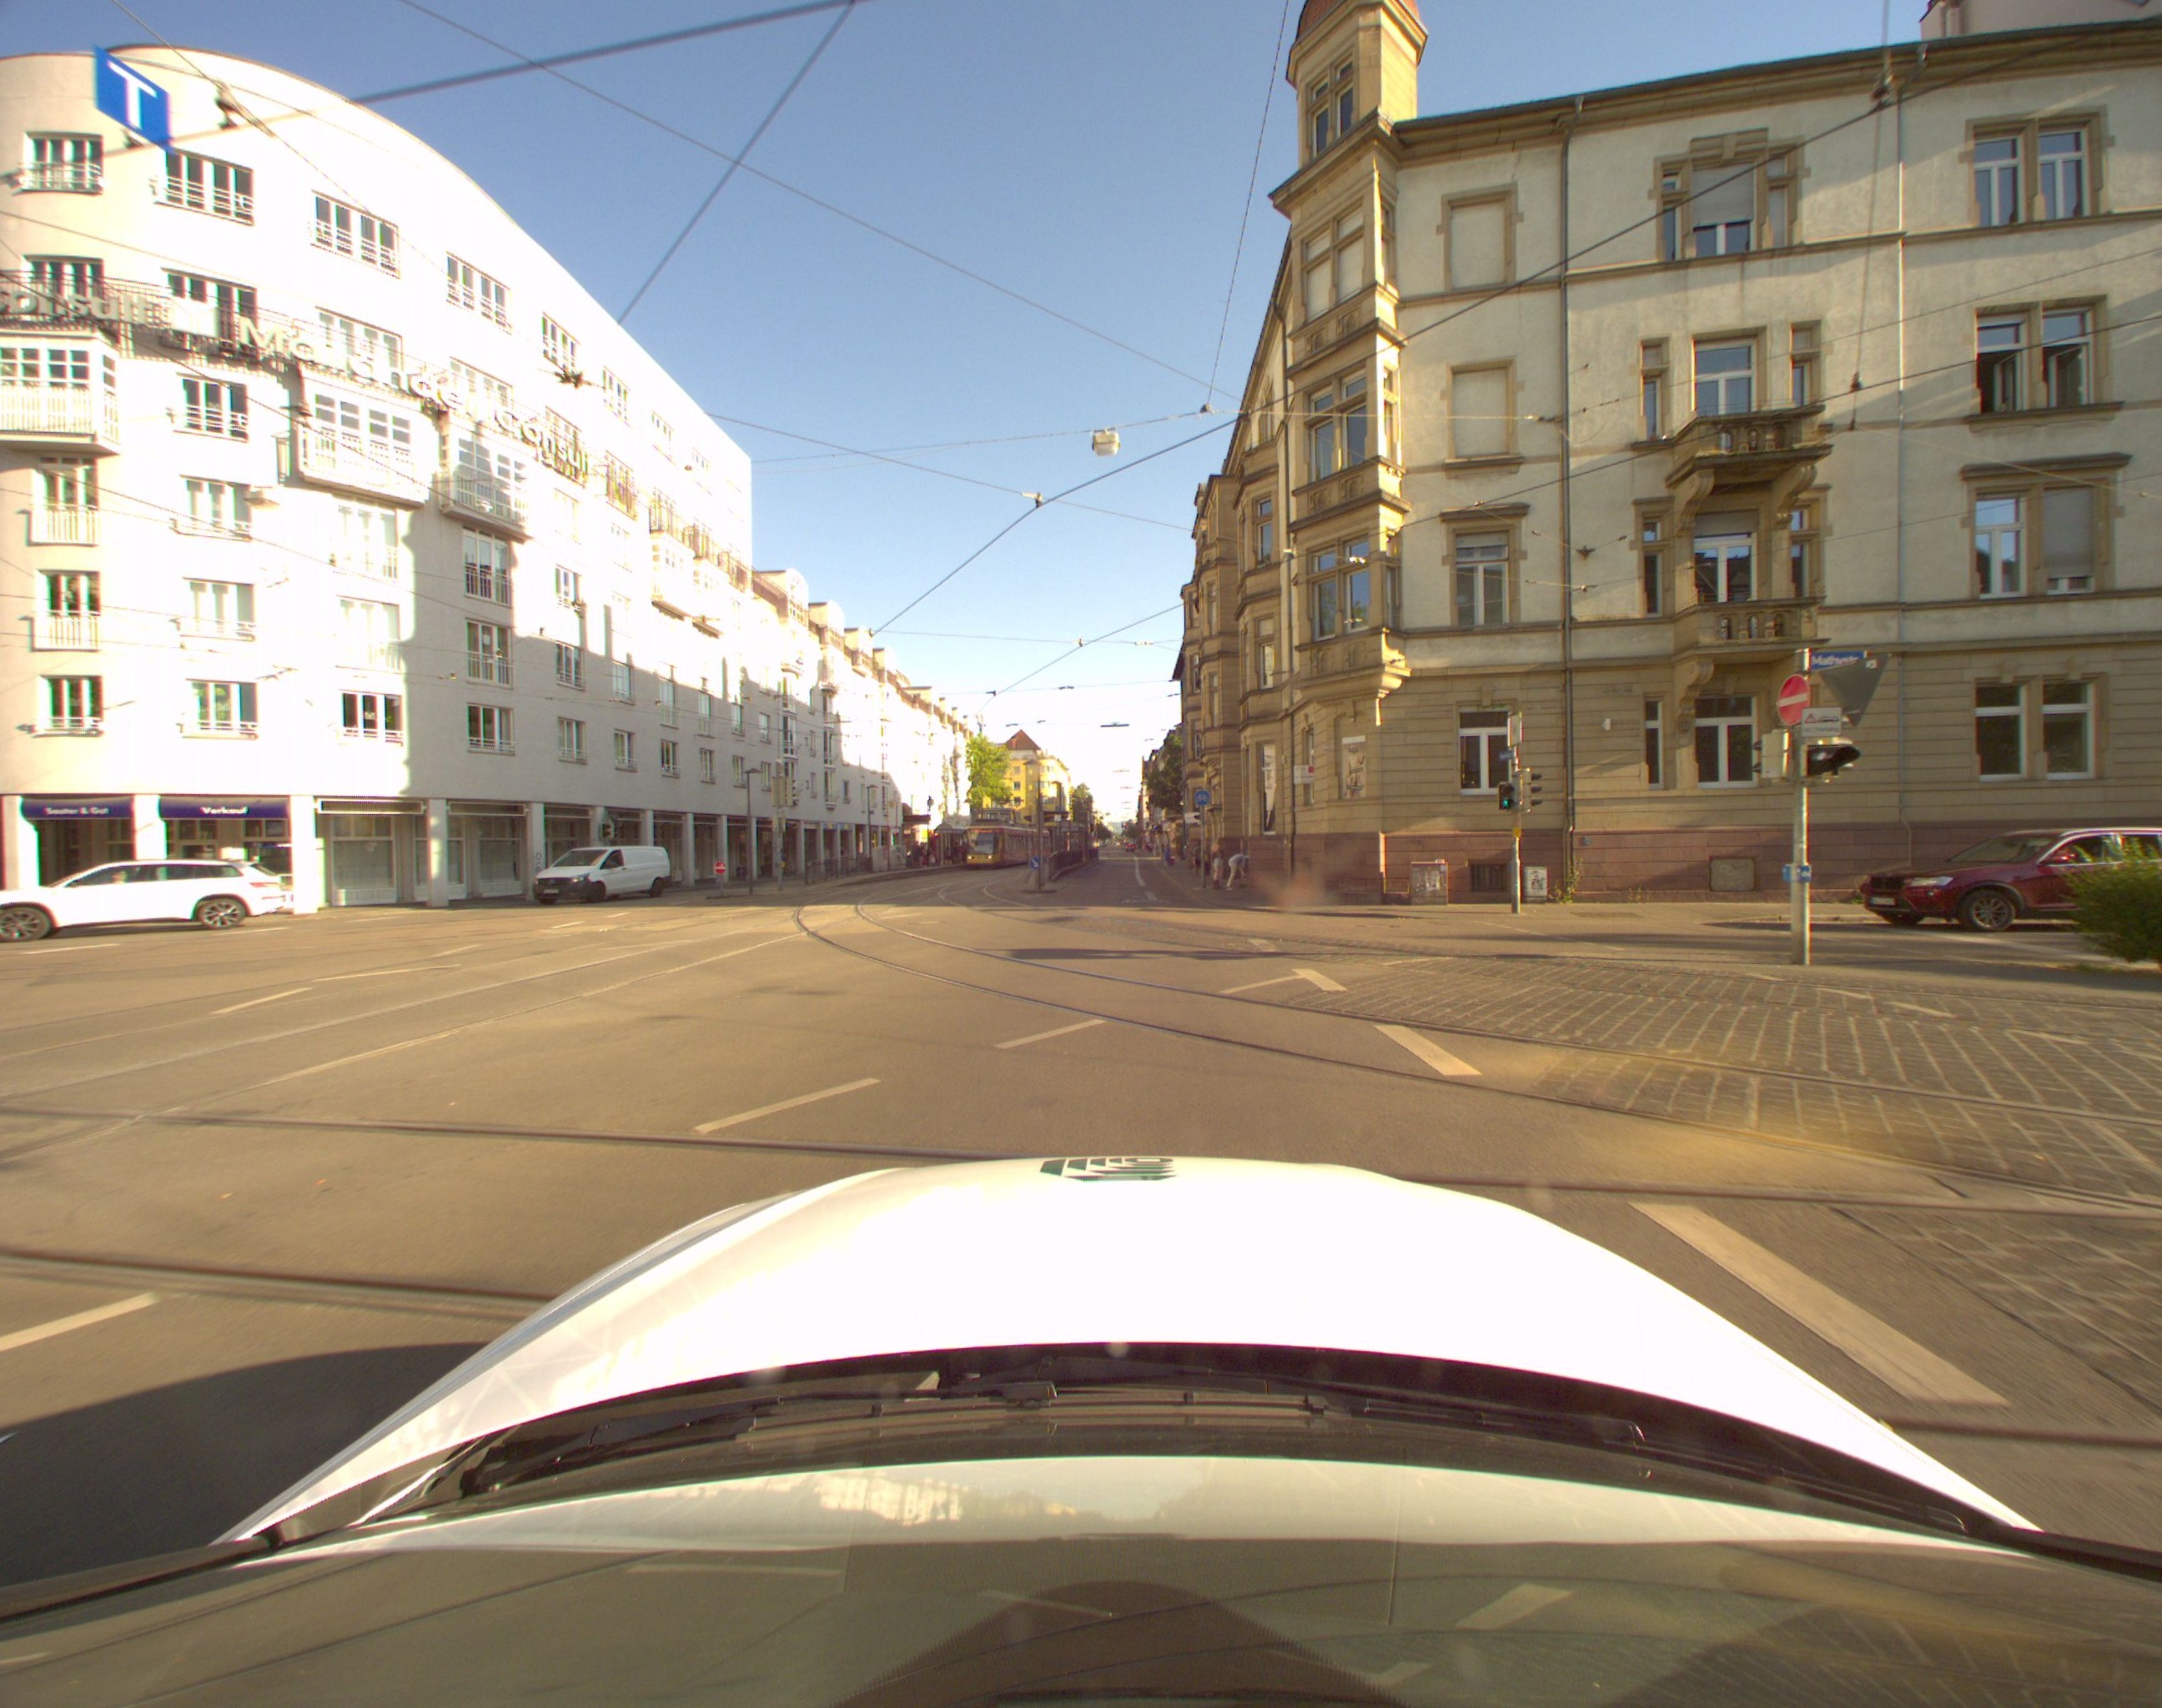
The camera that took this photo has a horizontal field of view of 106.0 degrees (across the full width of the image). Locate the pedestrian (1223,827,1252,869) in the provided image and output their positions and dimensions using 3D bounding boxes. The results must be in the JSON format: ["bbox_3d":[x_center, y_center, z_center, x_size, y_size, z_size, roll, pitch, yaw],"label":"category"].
[{"bbox_3d":[5.180,-0.187,27.041,0.791,1.331,0.720,-2,-1,1],"label":"pedestrian"}]

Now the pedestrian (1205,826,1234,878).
[{"bbox_3d":[4.728,-0.082,27.819,0.791,1.721,0.720,-2,-1,1],"label":"pedestrian"}]

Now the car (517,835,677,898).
[{"bbox_3d":[-16.372,0.345,27.997,1.985,1.837,5.351,-3,1,3],"label":"car"}]

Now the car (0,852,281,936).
[{"bbox_3d":[-21.489,0.826,18.567,1.975,1.620,4.538,0,1,43],"label":"car"}]

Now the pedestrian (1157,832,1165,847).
[{"bbox_3d":[8.624,-1.579,87.405,0.711,1.602,0.773,-4,2,0],"label":"pedestrian"}]

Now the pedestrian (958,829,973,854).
[{"bbox_3d":[-8.706,-0.932,61.321,0.928,1.904,0.881,-1,0,0],"label":"pedestrian"}]

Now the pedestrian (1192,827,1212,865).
[{"bbox_3d":[5.896,-0.396,39.820,0.797,1.823,0.798,-3,1,2],"label":"pedestrian"}]

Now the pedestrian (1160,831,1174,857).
[{"bbox_3d":[5.528,-0.653,52.187,0.759,1.645,0.833,-3,1,2],"label":"pedestrian"}]

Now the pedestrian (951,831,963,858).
[{"bbox_3d":[-9.098,-0.697,59.730,0.693,1.904,0.672,-1,0,0],"label":"pedestrian"}]

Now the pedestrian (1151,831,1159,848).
[{"bbox_3d":[7.884,-1.576,87.147,0.711,1.774,0.773,-4,2,0],"label":"pedestrian"}]

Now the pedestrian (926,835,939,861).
[{"bbox_3d":[-9.715,-0.419,53.408,0.698,1.691,0.667,-1,0,-21],"label":"pedestrian"}]

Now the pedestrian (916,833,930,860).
[{"bbox_3d":[-9.932,-0.473,51.213,0.756,1.732,0.523,-1,0,45],"label":"pedestrian"}]

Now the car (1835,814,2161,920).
[{"bbox_3d":[15.889,0.213,13.763,4.231,1.632,1.951,-1,0,11],"label":"car"}]

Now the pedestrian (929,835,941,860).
[{"bbox_3d":[-9.880,-0.434,55.124,0.698,1.691,0.667,-1,0,-21],"label":"pedestrian"}]

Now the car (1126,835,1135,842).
[{"bbox_3d":[10.024,-3.087,165.101,1.985,1.449,4.004,0,1,3],"label":"car"}]

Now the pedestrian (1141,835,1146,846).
[{"bbox_3d":[10.956,-2.426,143.458,0.840,1.917,0.662,-1,1,1],"label":"pedestrian"}]

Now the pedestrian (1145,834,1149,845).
[{"bbox_3d":[10.112,-2.209,124.726,0.556,1.796,0.652,-1,1,10],"label":"pedestrian"}]

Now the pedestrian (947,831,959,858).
[{"bbox_3d":[-9.293,-0.695,59.178,0.693,1.904,0.672,-1,0,0],"label":"pedestrian"}]

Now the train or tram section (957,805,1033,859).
[{"bbox_3d":[-6.147,-1.649,61.203,2.871,3.489,14.189,-2,1,5],"label":"train or tram section"}]

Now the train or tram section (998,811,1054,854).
[{"bbox_3d":[-4.888,-1.997,75.806,2.871,3.489,14.972,-2,1,5],"label":"train or tram section"}]

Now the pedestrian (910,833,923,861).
[{"bbox_3d":[-9.924,-0.404,49.209,0.596,1.691,0.614,-1,0,3],"label":"pedestrian"}]
